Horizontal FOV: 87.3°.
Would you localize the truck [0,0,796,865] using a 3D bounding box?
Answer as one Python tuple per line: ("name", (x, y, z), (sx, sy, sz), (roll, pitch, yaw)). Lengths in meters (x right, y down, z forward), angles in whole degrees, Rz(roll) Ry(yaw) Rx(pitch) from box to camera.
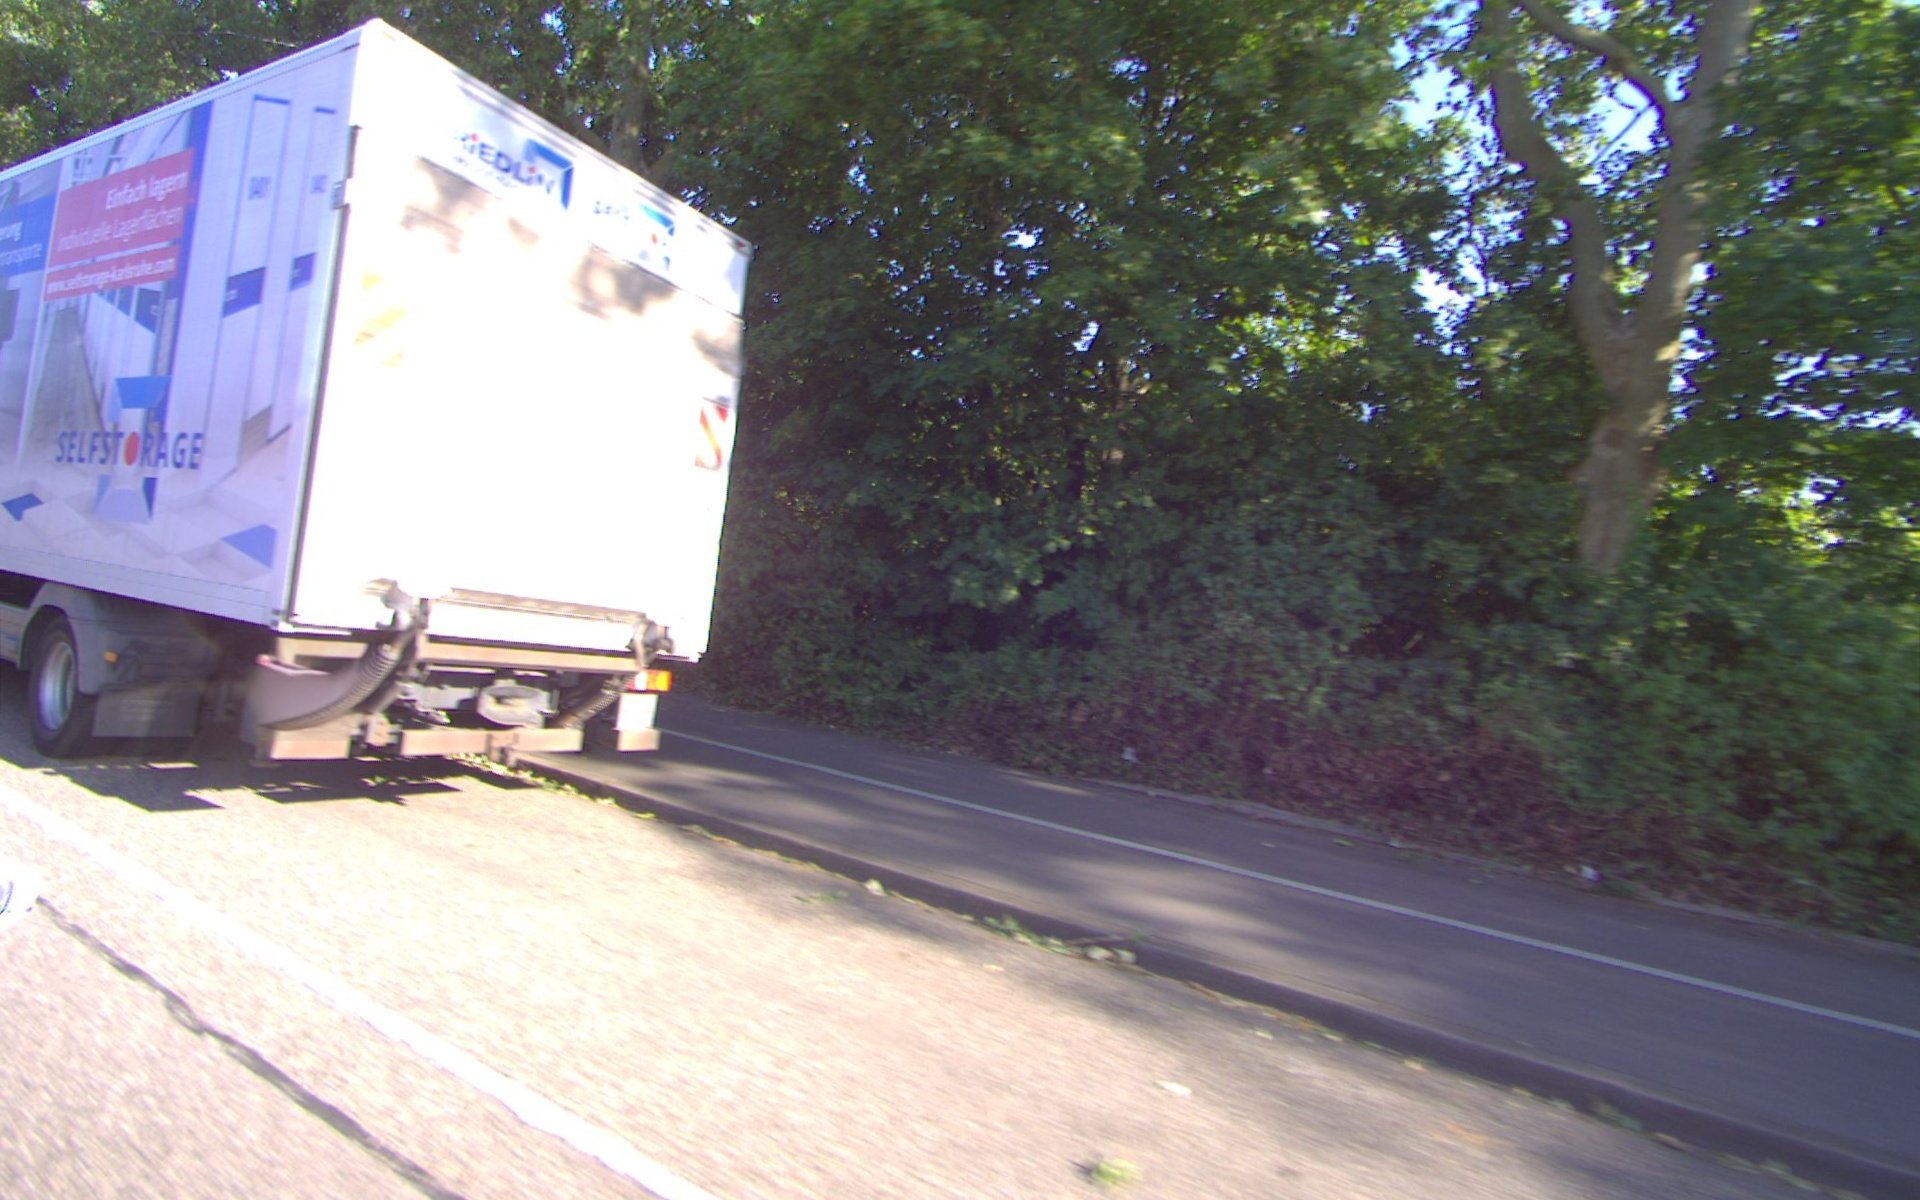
("truck", (-6.214, -1.108, 8.065), (9.922, 3.827, 2.747), (7, -2, 32))
